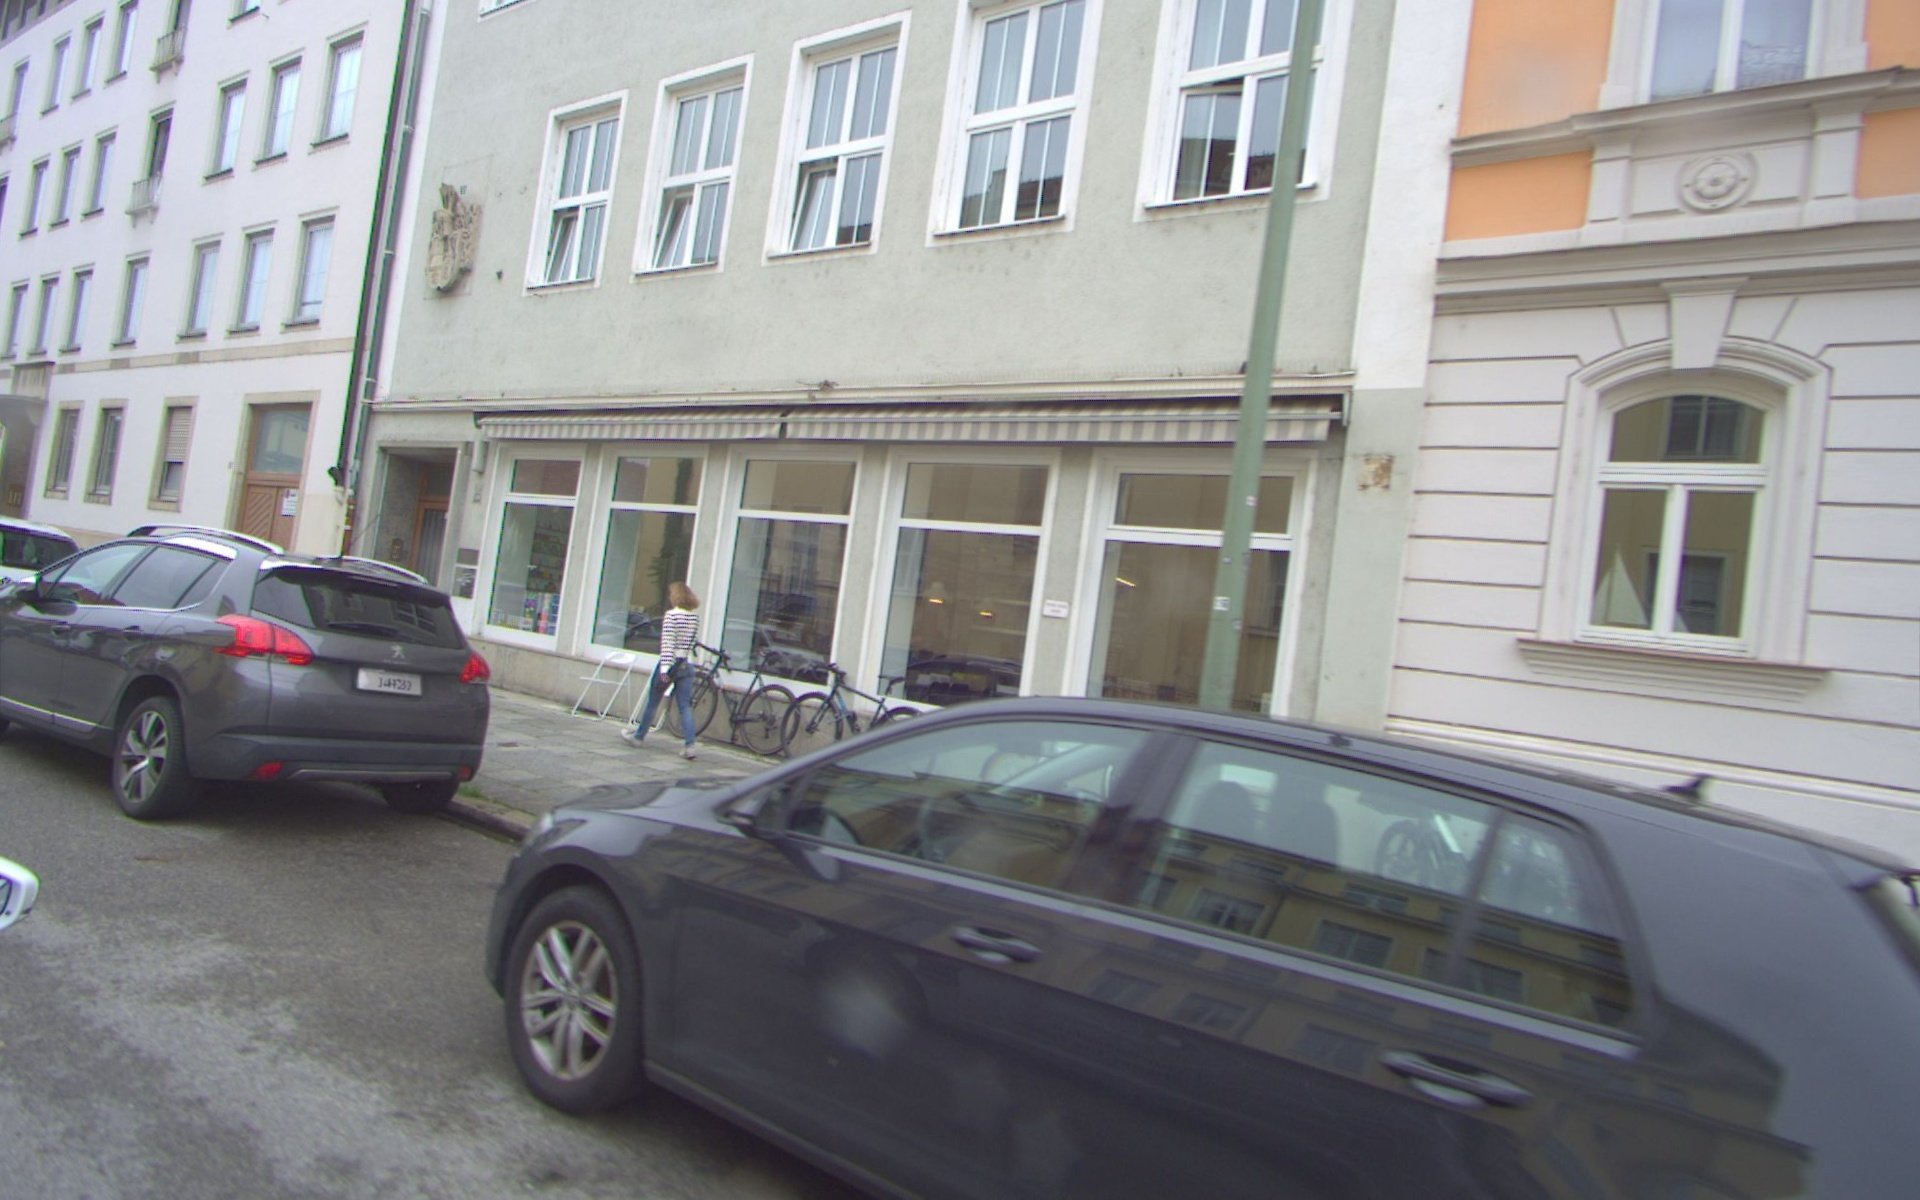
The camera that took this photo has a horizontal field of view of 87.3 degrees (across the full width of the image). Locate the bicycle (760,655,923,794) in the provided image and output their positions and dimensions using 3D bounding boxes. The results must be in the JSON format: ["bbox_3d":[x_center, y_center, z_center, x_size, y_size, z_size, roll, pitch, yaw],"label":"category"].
[{"bbox_3d":[-1.104,1.112,9.187,1.497,1.016,0.331,7,-1,33],"label":"bicycle"}]

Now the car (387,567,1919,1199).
[{"bbox_3d":[0.362,0.928,2.881,4.018,1.465,1.697,6,-5,34],"label":"car"}]

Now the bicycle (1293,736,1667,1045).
[{"bbox_3d":[2.859,1.545,5.865,0.600,1.196,2.091,8,-2,-13],"label":"bicycle"}]

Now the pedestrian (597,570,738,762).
[{"bbox_3d":[-2.729,0.607,9.406,0.814,1.645,0.735,7,-1,33],"label":"pedestrian"}]

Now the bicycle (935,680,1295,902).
[{"bbox_3d":[1.090,1.320,7.431,2.418,1.087,0.770,7,-2,32],"label":"bicycle"}]

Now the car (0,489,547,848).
[{"bbox_3d":[-4.882,0.326,6.587,4.013,1.599,1.699,7,-5,29],"label":"car"}]

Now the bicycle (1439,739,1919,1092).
[{"bbox_3d":[3.667,1.541,5.433,0.600,1.197,2.089,8,0,-15],"label":"bicycle"}]

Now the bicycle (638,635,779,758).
[{"bbox_3d":[-2.571,0.957,10.202,1.496,1.016,0.331,7,-1,33],"label":"bicycle"}]

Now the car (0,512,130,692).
[{"bbox_3d":[-10.026,-0.195,9.793,4.017,1.478,1.698,6,-5,33],"label":"car"}]
